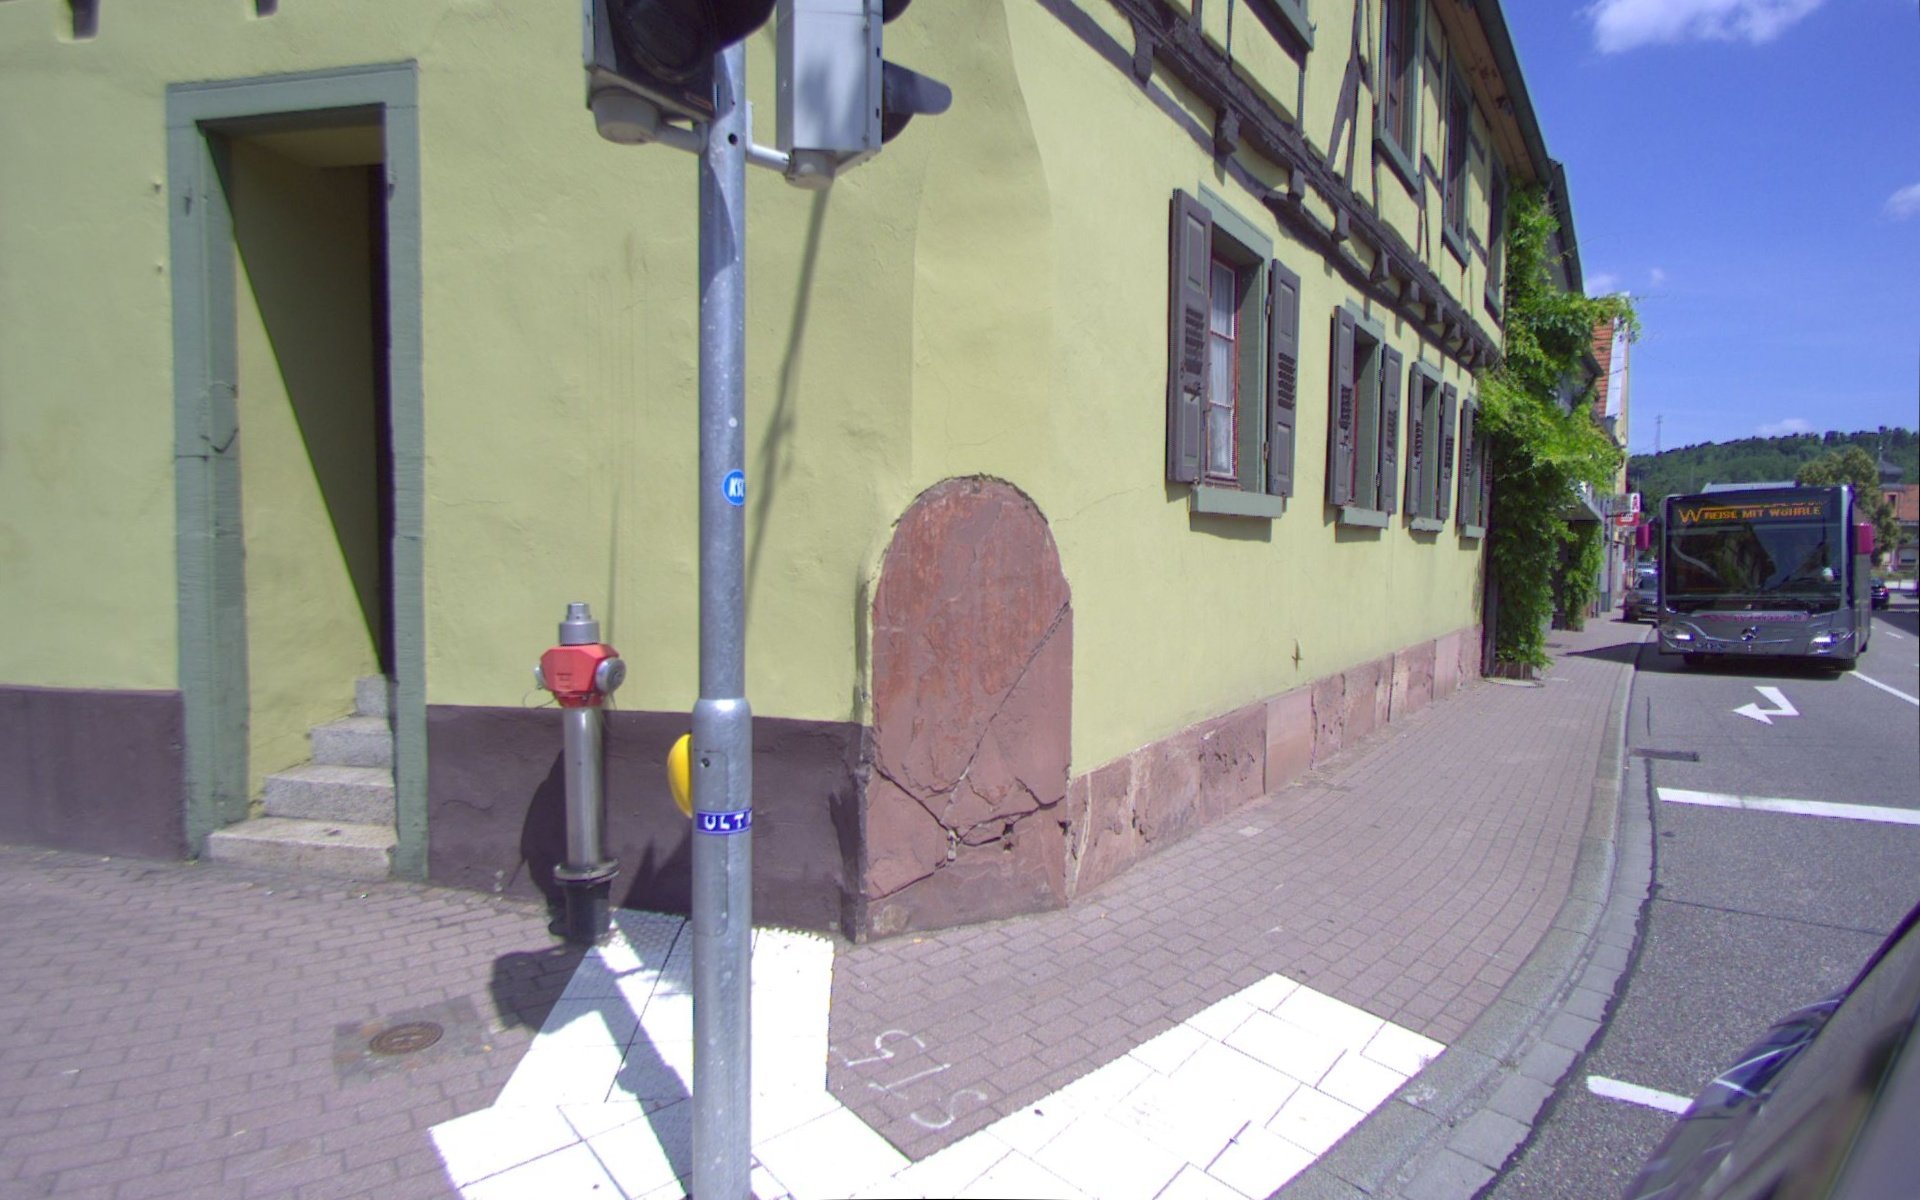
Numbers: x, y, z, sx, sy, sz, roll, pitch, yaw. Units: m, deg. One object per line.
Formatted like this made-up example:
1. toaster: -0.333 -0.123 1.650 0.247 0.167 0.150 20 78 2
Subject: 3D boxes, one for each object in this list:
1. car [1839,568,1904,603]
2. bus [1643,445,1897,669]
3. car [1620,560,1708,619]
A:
1. car: 45.269 -0.765 50.329 1.793 1.505 4.736 5 5 36
2. bus: 18.720 -0.756 22.478 2.852 3.244 18.734 2 2 43
3. car: 23.294 -0.417 33.436 1.991 1.729 4.043 5 5 39
